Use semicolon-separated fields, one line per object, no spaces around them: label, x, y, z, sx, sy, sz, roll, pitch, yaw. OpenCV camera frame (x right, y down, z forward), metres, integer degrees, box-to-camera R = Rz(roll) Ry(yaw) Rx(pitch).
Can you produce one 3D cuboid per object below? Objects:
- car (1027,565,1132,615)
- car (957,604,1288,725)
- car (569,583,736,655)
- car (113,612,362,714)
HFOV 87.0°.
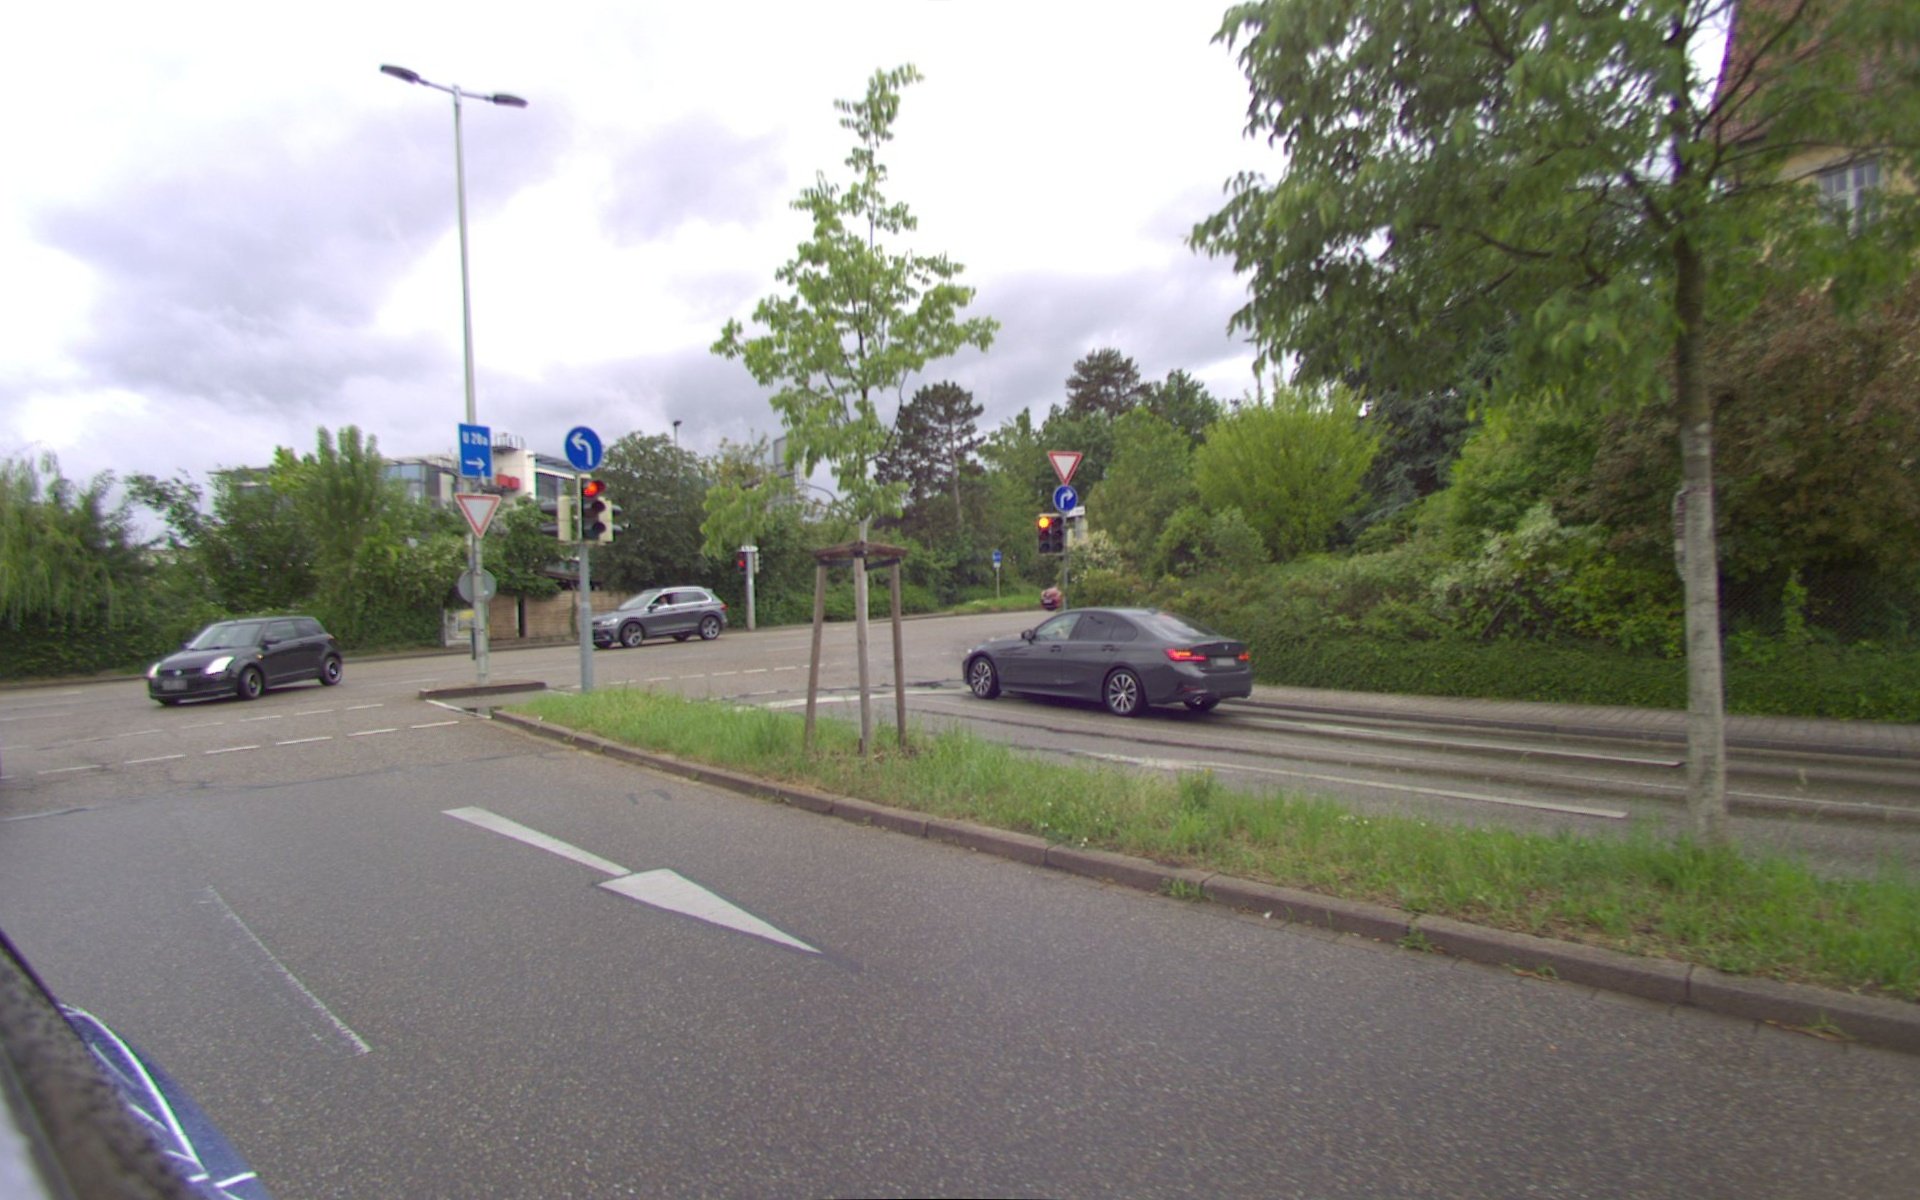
car;4.966;-0.433;41.936;3.934;1.739;1.874;-5;1;-34
car;2.141;0.833;14.526;1.968;1.449;4.556;1;-2;-39
car;-9.138;0.540;30.259;4.244;1.762;1.970;-5;1;-44
car;-13.849;1.130;19.738;1.725;1.530;3.995;-4;1;4
